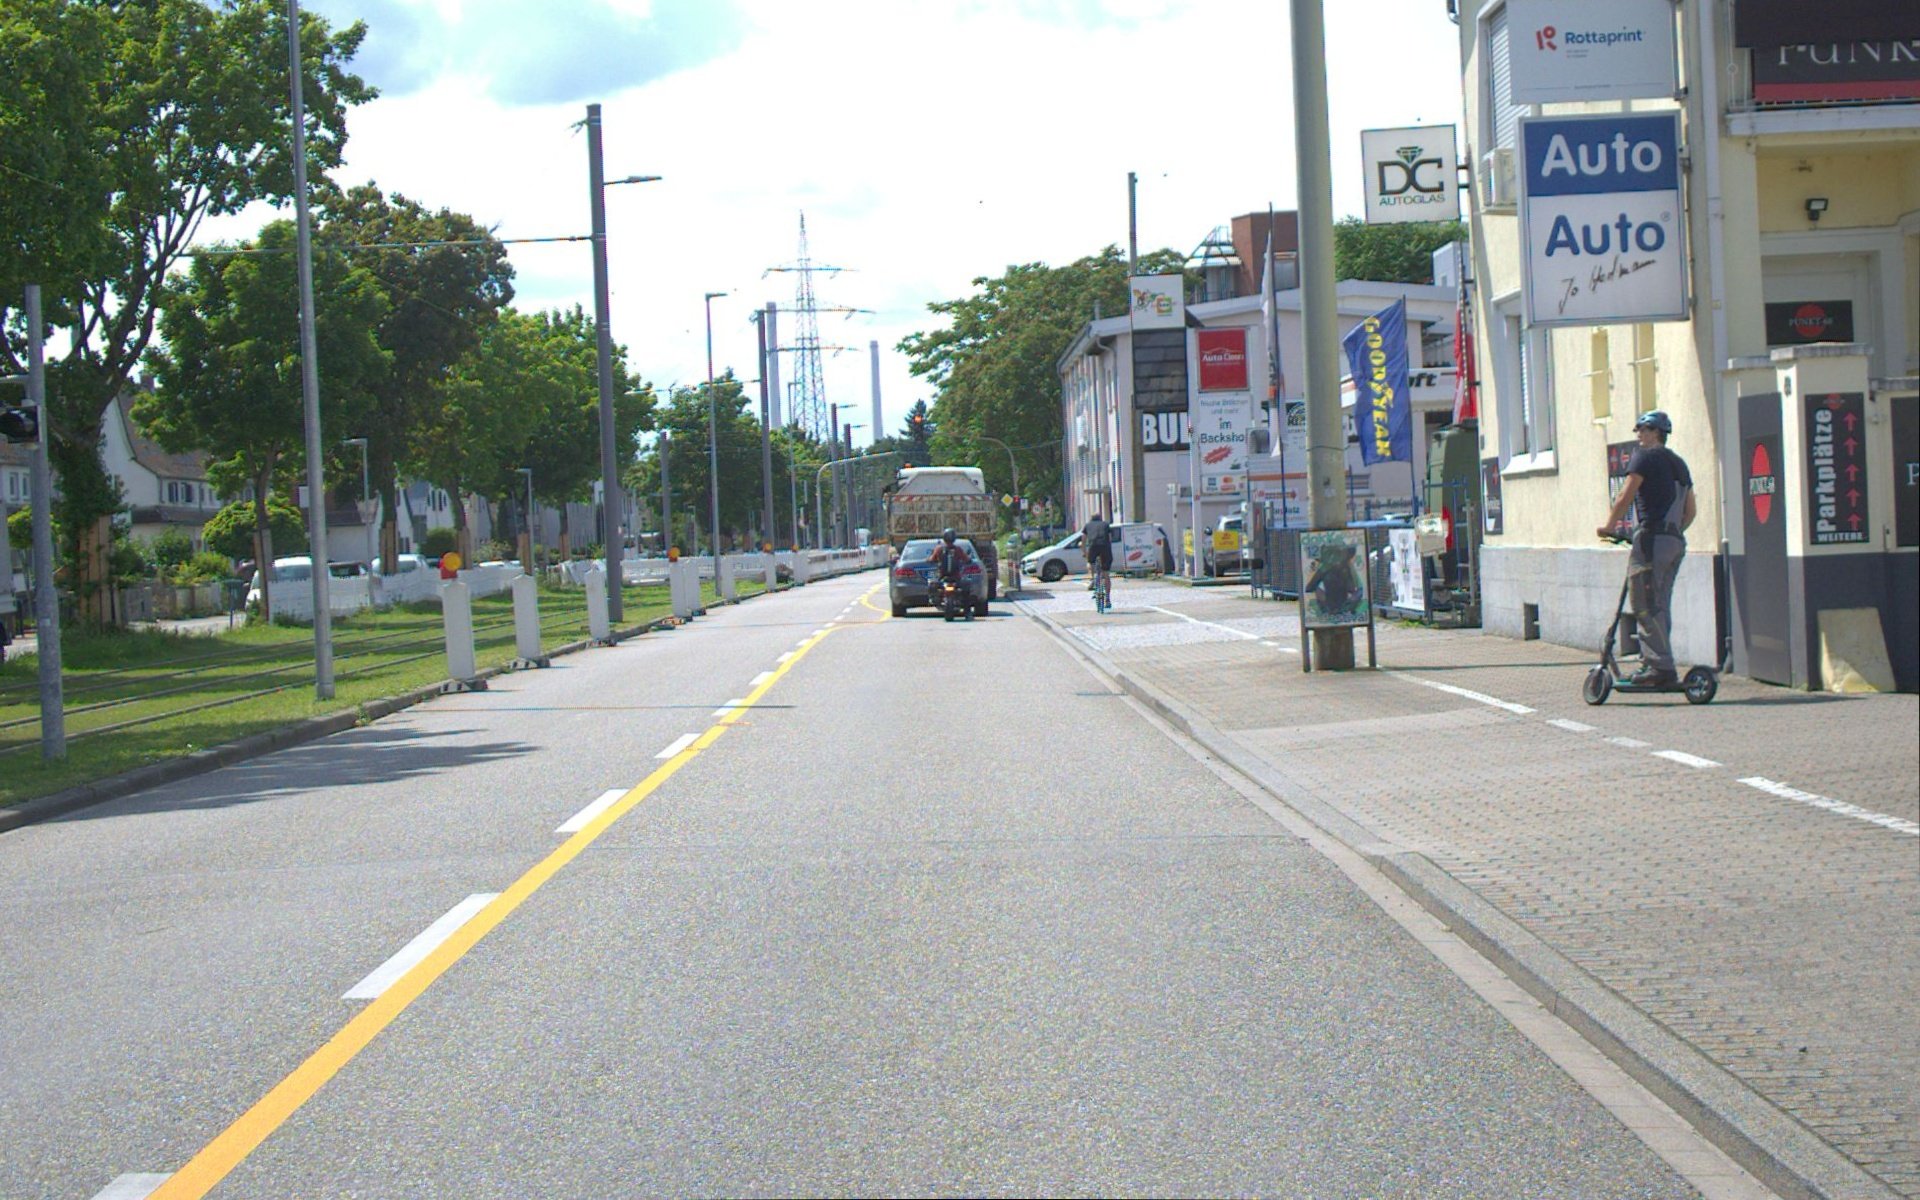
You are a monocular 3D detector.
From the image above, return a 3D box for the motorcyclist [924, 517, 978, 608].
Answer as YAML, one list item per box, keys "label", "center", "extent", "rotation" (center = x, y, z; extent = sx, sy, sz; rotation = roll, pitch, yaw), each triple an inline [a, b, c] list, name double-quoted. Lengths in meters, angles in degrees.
- label: "motorcyclist"
  center: [-0.161, -0.678, 61.703]
  extent: [0.939, 1.609, 1.205]
  rotation: [0, 1, 0]

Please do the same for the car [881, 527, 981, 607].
- label: "car"
  center: [-0.546, -0.658, 66.169]
  extent: [1.821, 1.419, 4.000]
  rotation: [-2, 1, 0]

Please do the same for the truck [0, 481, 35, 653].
- label: "truck"
  center: [-16.430, -0.400, 53.790]
  extent: [1.993, 2.758, 6.277]
  rotation: [-6, 2, 0]

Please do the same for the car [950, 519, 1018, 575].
- label: "car"
  center: [0.670, -1.495, 95.543]
  extent: [1.821, 1.459, 4.000]
  rotation: [-2, 1, 0]

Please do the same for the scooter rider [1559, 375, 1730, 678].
- label: "scooter rider"
  center: [4.586, -0.487, 23.078]
  extent: [0.717, 1.956, 0.785]
  rotation: [-5, 0, -14]

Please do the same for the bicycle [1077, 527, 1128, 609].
- label: "bicycle"
  center: [2.470, -0.575, 59.786]
  extent: [0.693, 1.357, 2.419]
  rotation: [-3, 1, 0]

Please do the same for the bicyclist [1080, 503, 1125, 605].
- label: "bicyclist"
  center: [2.481, -0.799, 59.800]
  extent: [0.671, 1.738, 0.813]
  rotation: [-3, 1, 0]

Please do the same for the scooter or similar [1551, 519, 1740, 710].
- label: "scooter or similar"
  center: [4.548, 0.098, 22.910]
  extent: [0.540, 1.191, 1.611]
  rotation: [-5, 1, -13]

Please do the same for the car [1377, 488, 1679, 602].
- label: "car"
  center: [8.195, -0.801, 49.918]
  extent: [4.184, 1.426, 1.820]
  rotation: [-3, 1, 7]

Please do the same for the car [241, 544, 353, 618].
- label: "car"
  center: [-16.866, -0.496, 87.612]
  extent: [1.993, 1.744, 4.000]
  rotation: [-3, 1, 0]

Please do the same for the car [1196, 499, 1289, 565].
- label: "car"
  center: [7.635, -1.819, 93.090]
  extent: [1.959, 1.643, 4.000]
  rotation: [-3, 1, -2]

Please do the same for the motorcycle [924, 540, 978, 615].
- label: "motorcycle"
  center: [-0.162, -0.423, 61.888]
  extent: [0.939, 1.316, 2.645]
  rotation: [0, 1, 0]

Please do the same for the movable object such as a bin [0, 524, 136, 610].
- label: "movable object such as a bin"
  center: [-28.090, -1.020, 107.227]
  extent: [4.335, 2.441, 1.789]
  rotation: [-3, 1, -22]

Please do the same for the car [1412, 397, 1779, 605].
- label: "car"
  center: [8.617, -1.337, 46.948]
  extent: [4.537, 2.564, 2.151]
  rotation: [-3, 1, 2]

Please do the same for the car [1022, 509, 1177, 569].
- label: "car"
  center: [4.192, -1.839, 103.810]
  extent: [4.329, 1.546, 1.950]
  rotation: [-3, 1, -8]

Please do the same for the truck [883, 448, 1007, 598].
- label: "truck"
  center: [-0.301, -1.924, 82.396]
  extent: [2.610, 3.244, 9.183]
  rotation: [-3, 2, 1]

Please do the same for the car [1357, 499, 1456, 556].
- label: "car"
  center: [12.145, -1.962, 93.777]
  extent: [1.959, 1.415, 4.000]
  rotation: [-3, 1, -2]
